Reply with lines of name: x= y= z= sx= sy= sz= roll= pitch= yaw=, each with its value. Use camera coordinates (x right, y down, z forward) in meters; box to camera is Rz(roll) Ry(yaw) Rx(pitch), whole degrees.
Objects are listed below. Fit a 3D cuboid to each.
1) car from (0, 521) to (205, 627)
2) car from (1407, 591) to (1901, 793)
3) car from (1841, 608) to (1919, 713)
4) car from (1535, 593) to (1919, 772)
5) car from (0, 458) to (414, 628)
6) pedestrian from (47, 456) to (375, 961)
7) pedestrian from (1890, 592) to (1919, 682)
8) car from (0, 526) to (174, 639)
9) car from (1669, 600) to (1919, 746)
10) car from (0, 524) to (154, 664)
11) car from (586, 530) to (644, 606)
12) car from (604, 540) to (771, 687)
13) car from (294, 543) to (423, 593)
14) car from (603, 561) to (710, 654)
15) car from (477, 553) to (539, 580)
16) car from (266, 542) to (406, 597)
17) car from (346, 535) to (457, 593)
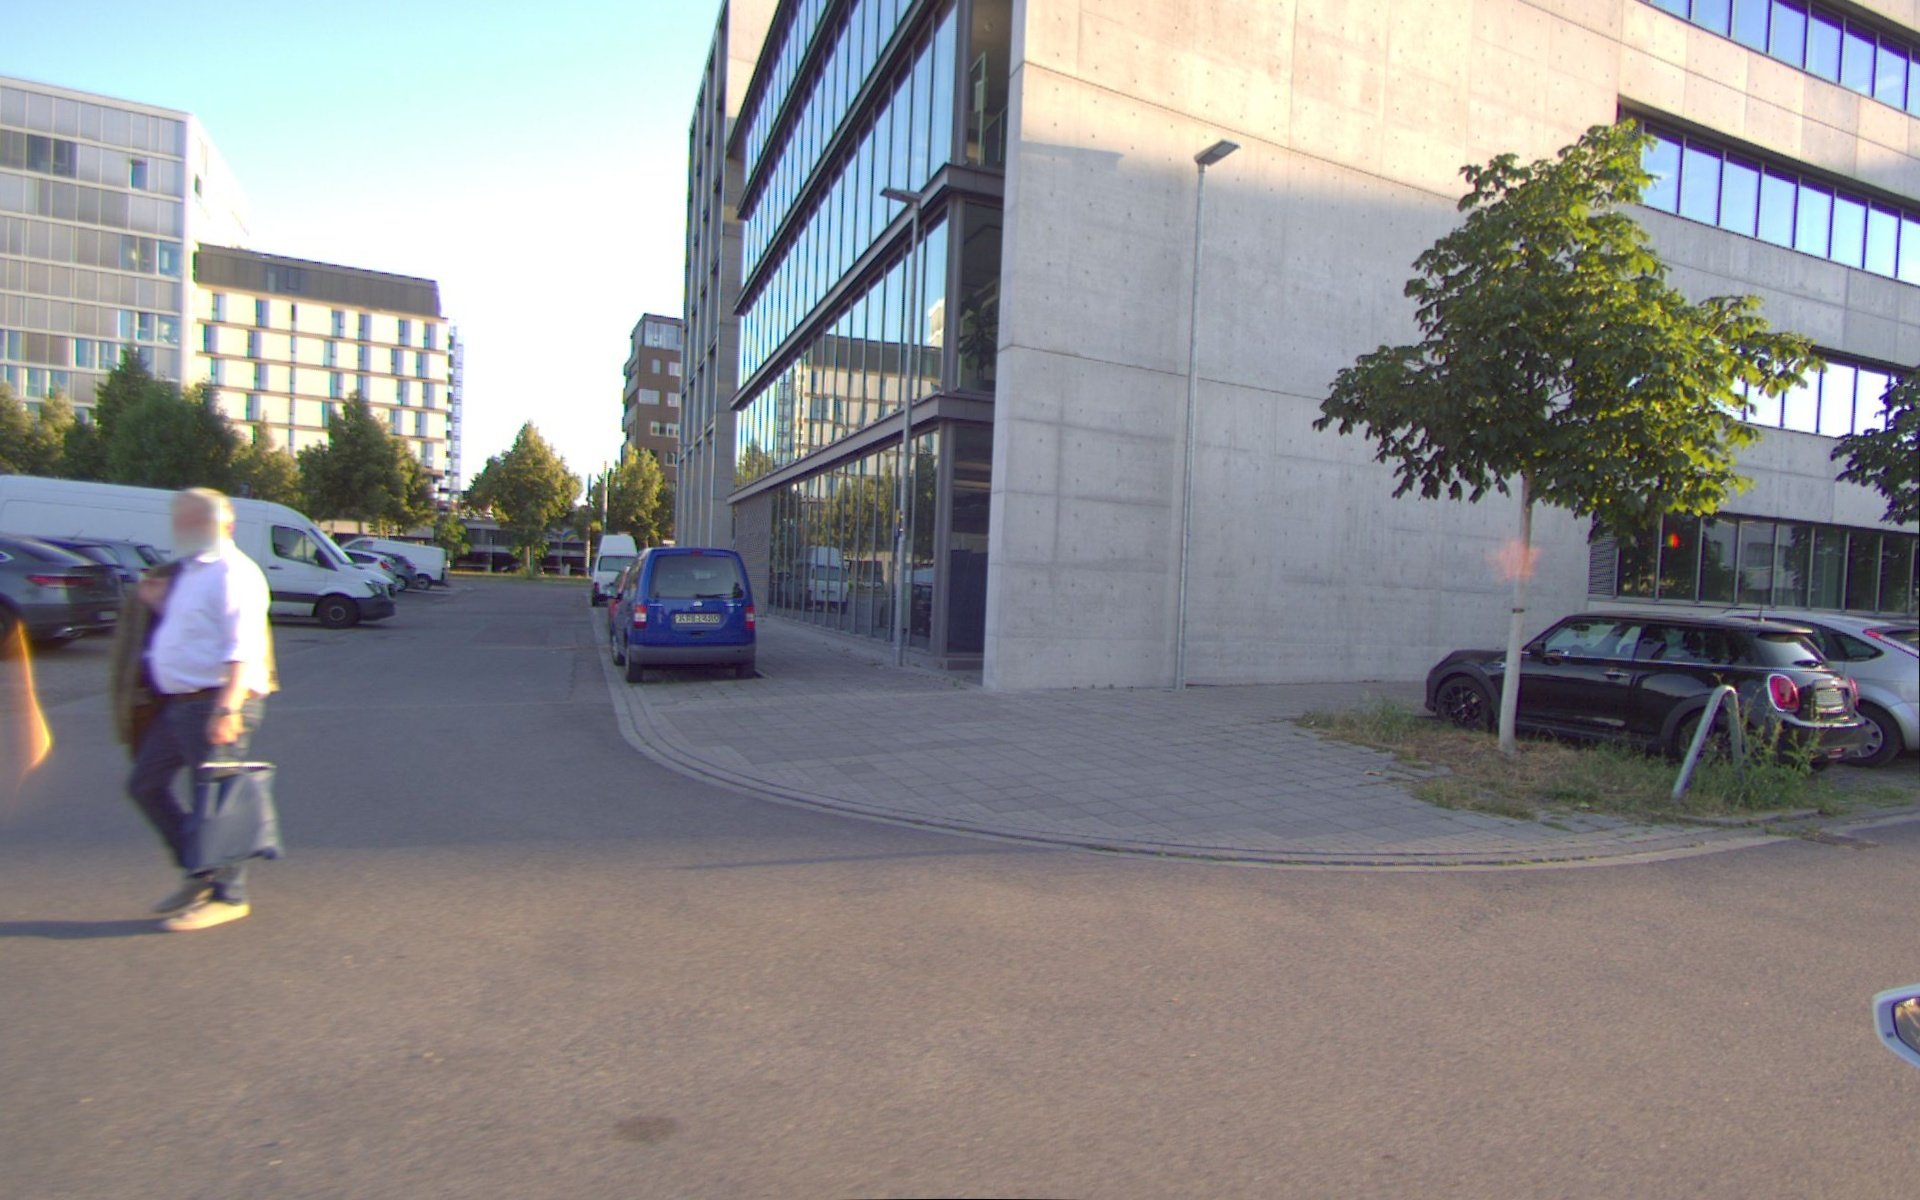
car: x=-15.947 y=-0.518 z=17.396 sx=4.246 sy=1.519 sz=1.657 roll=6 pitch=1 yaw=-26
car: x=6.769 y=0.752 z=10.243 sx=1.747 sy=1.502 sz=3.719 roll=1 pitch=2 yaw=-28
car: x=15.601 y=0.990 z=14.462 sx=1.735 sy=1.532 sz=3.976 roll=1 pitch=2 yaw=-24
car: x=9.138 y=0.804 z=11.476 sx=1.823 sy=1.549 sz=4.068 roll=2 pitch=2 yaw=-28
car: x=-15.601 y=-1.078 z=21.159 sx=6.890 sy=2.839 sz=2.200 roll=4 pitch=0 yaw=-25
pedestrian: x=-3.206 y=0.399 z=4.325 sx=0.886 sy=1.875 sz=0.854 roll=2 pitch=1 yaw=32
pedestrian: x=19.706 y=0.755 z=20.555 sx=0.714 sy=1.808 sz=0.644 roll=2 pitch=2 yaw=-22
car: x=-15.056 y=-0.388 z=15.412 sx=4.350 sy=1.519 sz=1.657 roll=6 pitch=1 yaw=-26
car: x=11.309 y=0.865 z=12.306 sx=1.565 sy=1.533 sz=3.981 roll=0 pitch=3 yaw=-28
car: x=-13.260 y=-0.223 z=12.739 sx=4.350 sy=1.642 sz=1.657 roll=6 pitch=1 yaw=-26
car: x=-12.952 y=-1.178 z=37.832 sx=1.929 sy=2.689 sz=4.038 roll=1 pitch=1 yaw=-18
car: x=-4.149 y=0.116 z=14.853 sx=1.822 sy=1.856 sz=4.075 roll=0 pitch=2 yaw=-24
car: x=-23.458 y=-1.256 z=39.333 sx=4.076 sy=1.519 sz=1.657 roll=6 pitch=1 yaw=-26
car: x=-6.146 y=0.070 z=20.053 sx=1.751 sy=1.652 sz=4.034 roll=-1 pitch=2 yaw=-21
car: x=-32.521 y=-2.436 z=72.347 sx=3.905 sy=1.519 sz=1.659 roll=6 pitch=1 yaw=-22
car: x=-22.601 y=-1.108 z=36.557 sx=4.076 sy=1.519 sz=1.657 roll=6 pitch=1 yaw=-26
car: x=-24.999 y=-1.616 z=45.099 sx=4.077 sy=2.051 sz=1.657 roll=7 pitch=0 yaw=-26
